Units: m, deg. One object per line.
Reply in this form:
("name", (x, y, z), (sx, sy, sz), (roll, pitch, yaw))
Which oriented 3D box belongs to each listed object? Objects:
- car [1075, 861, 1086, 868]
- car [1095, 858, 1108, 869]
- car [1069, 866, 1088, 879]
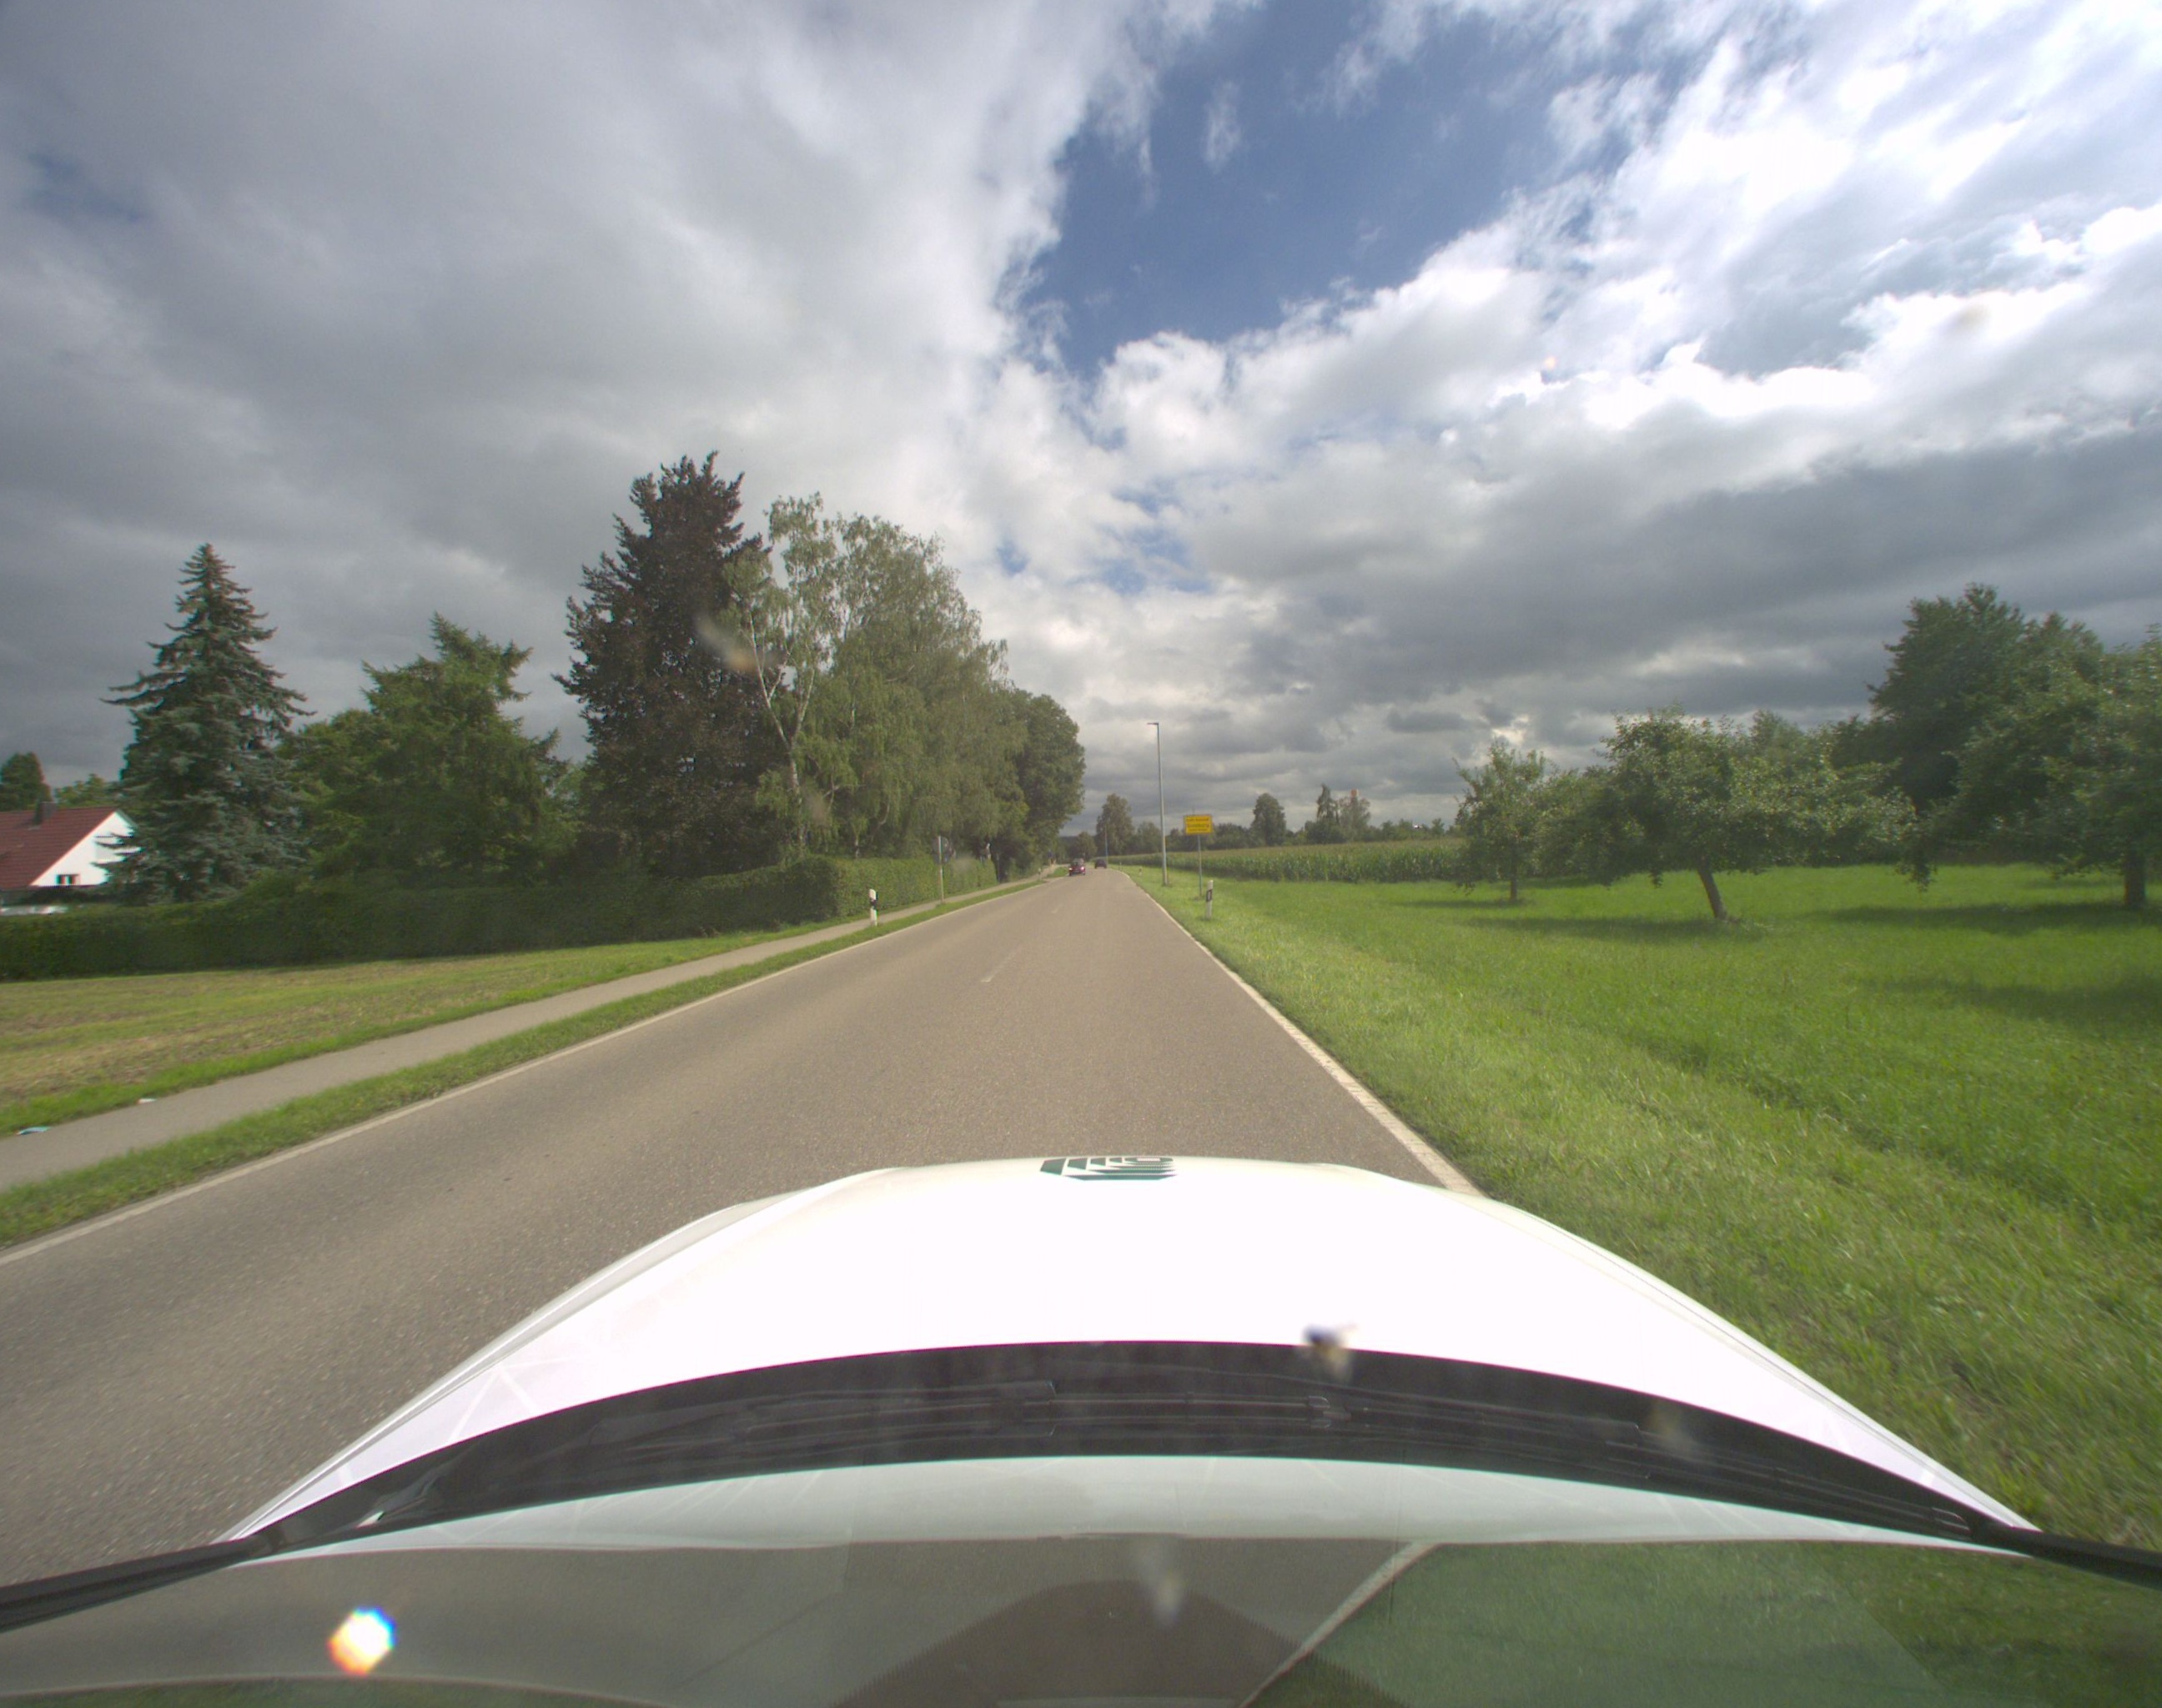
("car", (-0.085, 2.016, 155.929), (1.739, 1.222, 3.544), (-4, 0, 2))
("car", (3.343, 1.510, 130.716), (1.899, 1.666, 4.001), (-4, 0, 1))
("car", (-0.240, 1.885, 84.957), (1.739, 1.222, 3.544), (-4, 0, 2))
